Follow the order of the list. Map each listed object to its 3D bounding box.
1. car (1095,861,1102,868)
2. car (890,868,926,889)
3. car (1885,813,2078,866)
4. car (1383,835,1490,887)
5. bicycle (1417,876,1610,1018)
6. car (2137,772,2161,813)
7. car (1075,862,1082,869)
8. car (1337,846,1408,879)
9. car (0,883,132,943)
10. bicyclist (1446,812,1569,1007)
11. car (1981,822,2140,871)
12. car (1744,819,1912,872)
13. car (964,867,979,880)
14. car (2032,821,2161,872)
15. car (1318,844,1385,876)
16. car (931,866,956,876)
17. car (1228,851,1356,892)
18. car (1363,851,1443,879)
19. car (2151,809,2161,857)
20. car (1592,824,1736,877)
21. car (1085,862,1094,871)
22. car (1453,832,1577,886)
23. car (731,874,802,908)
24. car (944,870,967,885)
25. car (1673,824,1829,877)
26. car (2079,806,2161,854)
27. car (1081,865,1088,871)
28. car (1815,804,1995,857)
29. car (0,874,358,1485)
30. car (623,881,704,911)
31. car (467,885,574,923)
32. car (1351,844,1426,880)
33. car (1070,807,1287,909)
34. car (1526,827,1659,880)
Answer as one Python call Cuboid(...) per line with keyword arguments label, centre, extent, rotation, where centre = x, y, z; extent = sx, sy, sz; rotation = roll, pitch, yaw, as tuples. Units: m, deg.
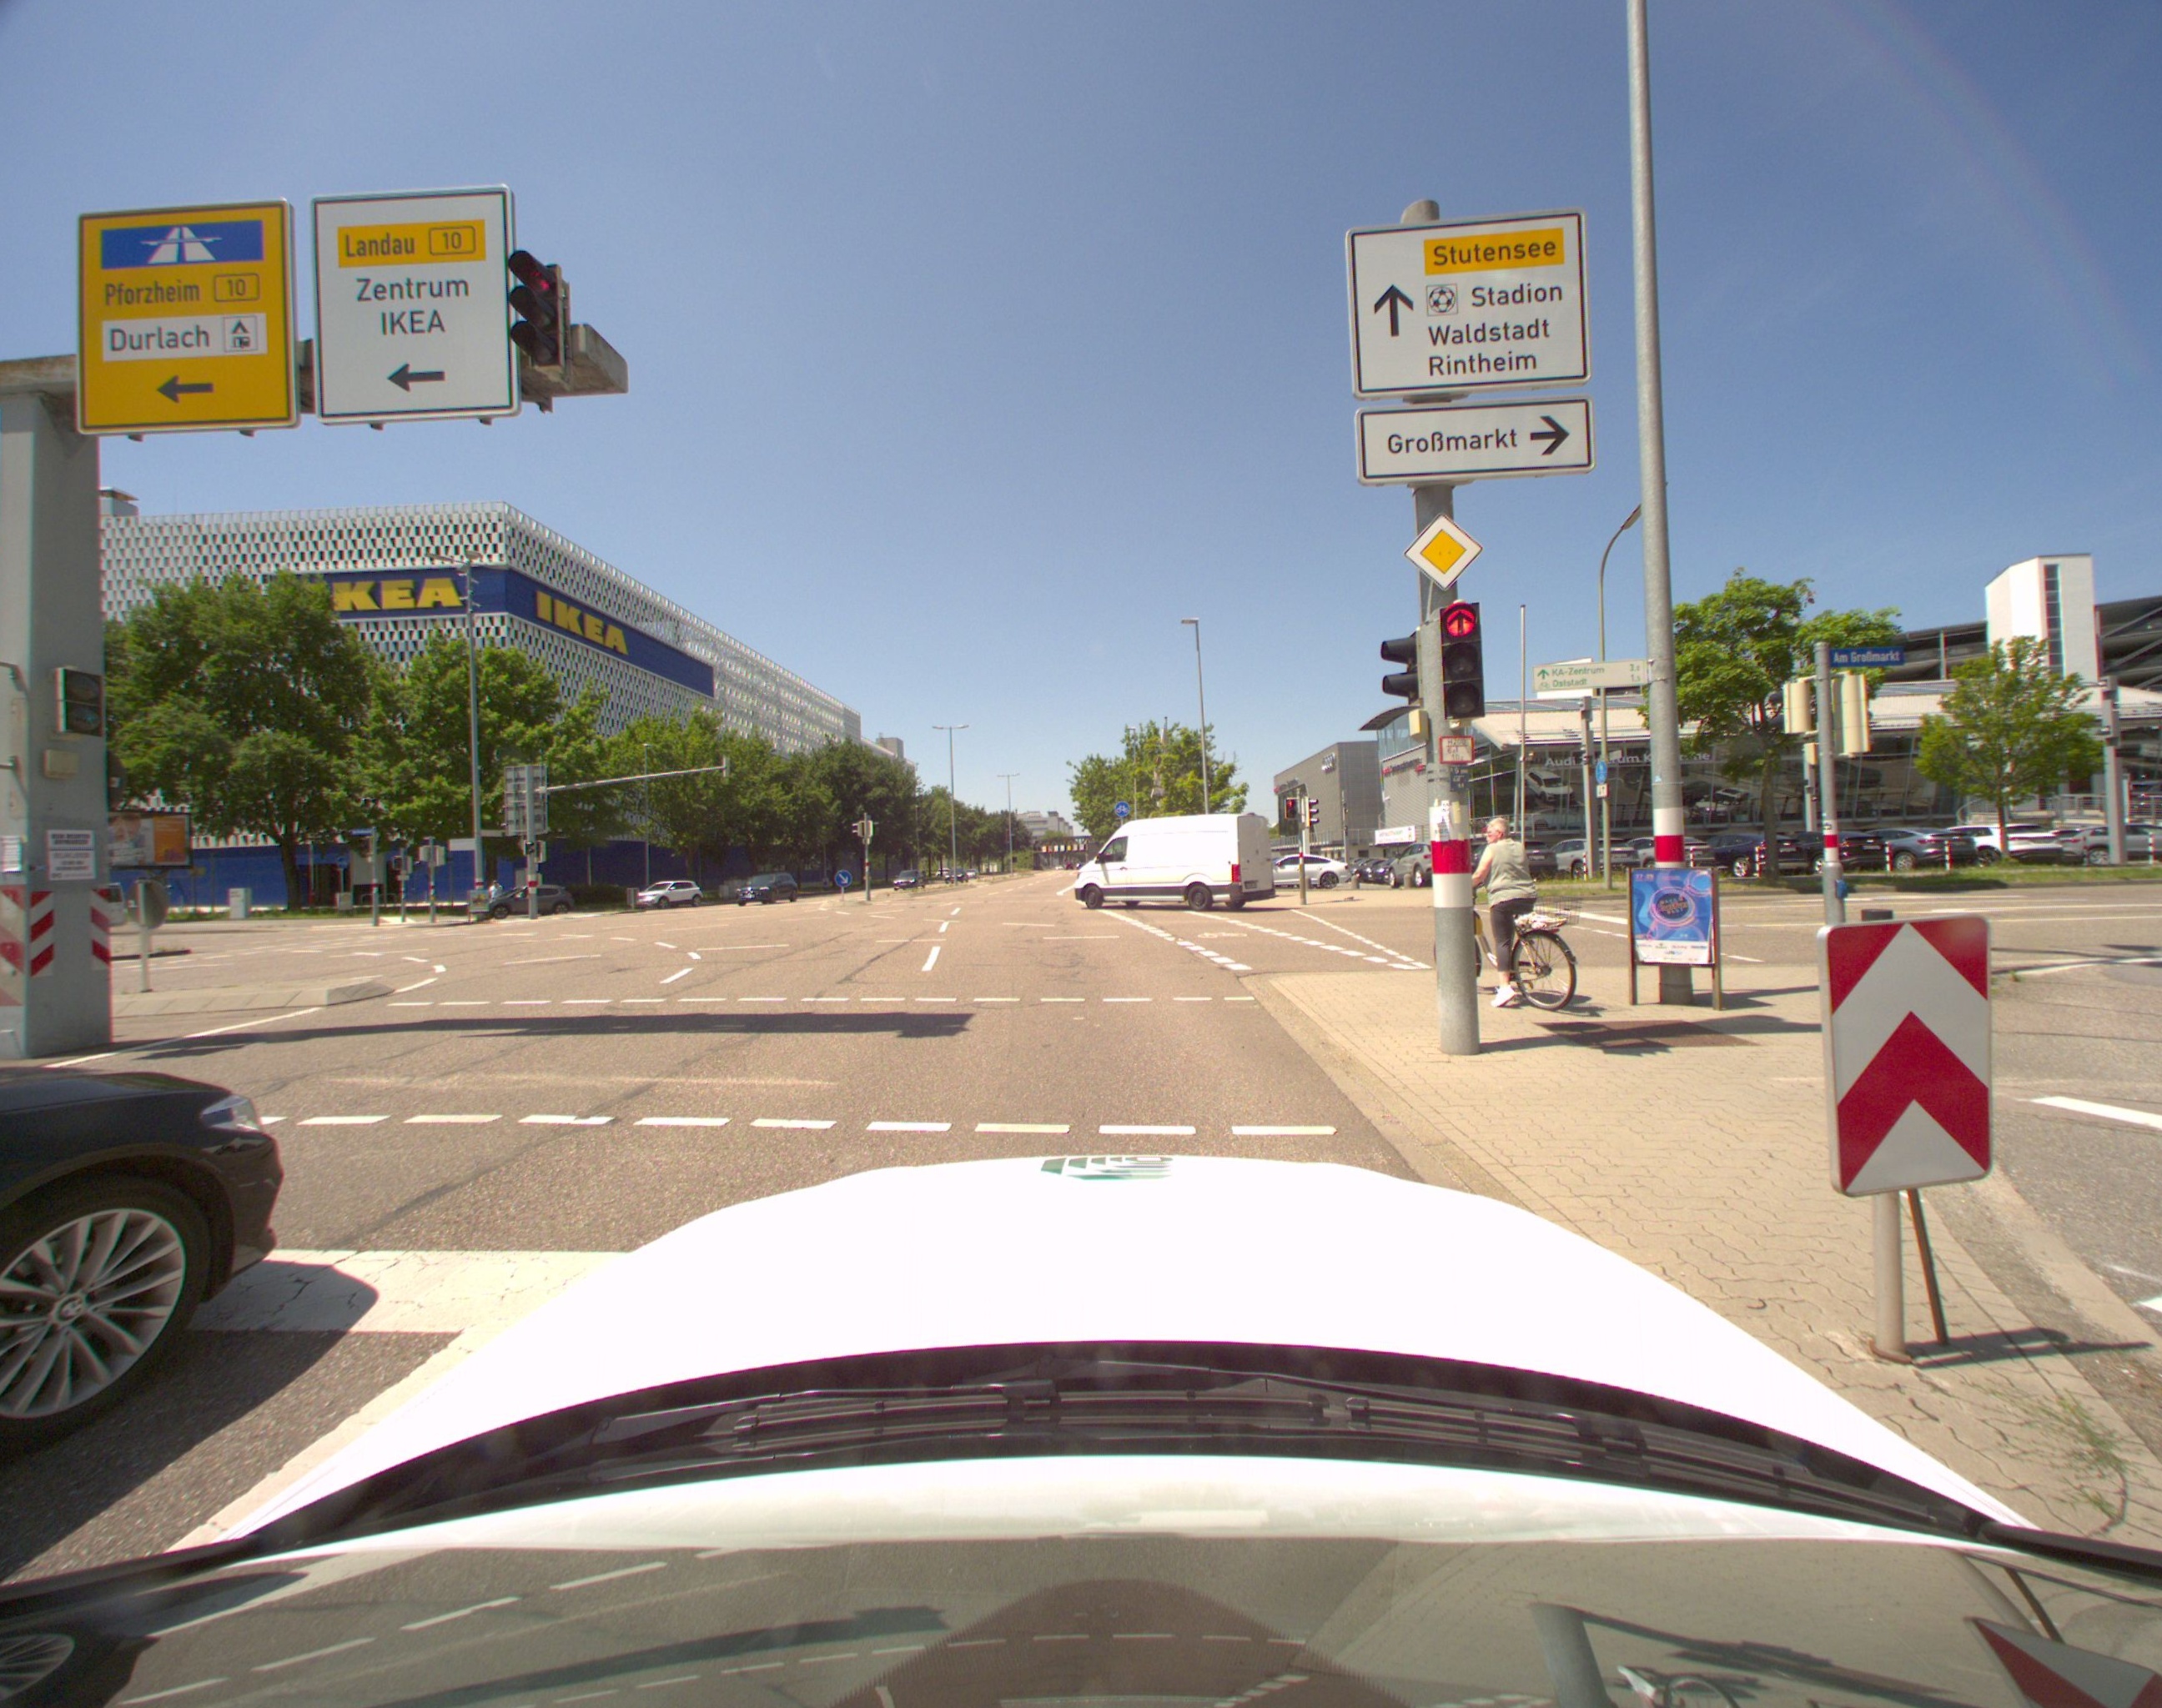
Cuboid(label="car", centre=(4.860, 2.855, 222.028), extent=(1.765, 1.728, 4.001), rotation=(-3, -1, 2))
Cuboid(label="car", centre=(-12.989, 1.827, 61.452), extent=(1.725, 1.427, 3.707), rotation=(-4, -1, 2))
Cuboid(label="car", centre=(31.241, -0.471, 28.489), extent=(1.821, 1.639, 4.476), rotation=(-3, 0, 2))
Cuboid(label="car", centre=(12.445, 0.217, 28.840), extent=(1.986, 1.639, 4.270), rotation=(-2, 0, 2))
Cuboid(label="bicycle", centre=(4.053, 0.812, 7.845), extent=(0.784, 1.127, 1.919), rotation=(-1, 0, -2))
Cuboid(label="car", centre=(54.924, -3.152, 39.555), extent=(1.989, 2.013, 3.995), rotation=(-2, -1, -3))
Cuboid(label="car", centre=(-0.675, 3.081, 220.580), extent=(1.765, 1.728, 4.001), rotation=(-3, -1, 2))
Cuboid(label="car", centre=(19.337, 0.562, 54.071), extent=(3.971, 2.014, 2.001), rotation=(-2, -1, 2))
Cuboid(label="car", centre=(-38.439, 2.162, 29.540), extent=(4.775, 2.008, 1.982), rotation=(-2, -1, -27))
Cuboid(label="bicyclist", centre=(4.023, 0.497, 7.734), extent=(0.732, 1.749, 0.753), rotation=(-1, 0, -3))
Cuboid(label="car", centre=(39.998, -0.287, 33.392), extent=(3.720, 1.772, 1.781), rotation=(-3, -1, 32))
Cuboid(label="car", centre=(25.906, -0.277, 28.512), extent=(1.821, 1.639, 4.476), rotation=(-3, 0, 2))
Cuboid(label="car", centre=(-15.696, 2.764, 116.945), extent=(1.645, 1.653, 4.160), rotation=(-2, -1, -2))
Cuboid(label="car", centre=(39.098, -0.277, 30.776), extent=(3.665, 1.777, 1.759), rotation=(-3, -1, 28))
Cuboid(label="car", centre=(18.739, 0.412, 56.477), extent=(3.971, 2.014, 2.001), rotation=(-2, -1, 2))
Cuboid(label="car", centre=(-25.357, 3.134, 150.036), extent=(3.992, 1.810, 2.005), rotation=(0, 0, 9))
Cuboid(label="car", centre=(8.486, 0.702, 33.154), extent=(4.721, 1.457, 2.002), rotation=(-2, 0, 3))
Cuboid(label="car", centre=(19.294, 0.645, 48.910), extent=(4.076, 1.460, 1.720), rotation=(-2, 0, 2))
Cuboid(label="car", centre=(39.462, -0.813, 26.861), extent=(4.705, 1.639, 1.844), rotation=(-3, 0, 24))
Cuboid(label="car", centre=(20.338, -0.109, 28.688), extent=(1.878, 1.639, 4.526), rotation=(-3, 0, 2))
Cuboid(label="car", centre=(1.139, 1.649, 105.603), extent=(1.133, 1.042, 2.309), rotation=(-2, 0, 2))
Cuboid(label="car", centre=(15.089, 0.158, 28.661), extent=(1.986, 1.639, 4.559), rotation=(-2, 0, 2))
Cuboid(label="car", centre=(-16.704, 1.925, 43.450), extent=(1.868, 1.598, 4.498), rotation=(-3, -1, 2))
Cuboid(label="car", centre=(-12.641, 2.349, 82.189), extent=(1.678, 1.411, 3.666), rotation=(-3, -1, 2))
Cuboid(label="car", centre=(23.200, -0.125, 28.457), extent=(1.821, 1.639, 4.476), rotation=(-3, 0, 2))
Cuboid(label="car", centre=(46.605, -1.063, 35.371), extent=(3.728, 2.014, 1.866), rotation=(-2, -1, 11))
Cuboid(label="car", centre=(1.000, 3.998, 236.662), extent=(1.765, 1.728, 4.001), rotation=(-3, -1, 2))
Cuboid(label="car", centre=(28.548, -0.761, 28.470), extent=(1.821, 1.639, 4.476), rotation=(-3, 0, 2))
Cuboid(label="car", centre=(-3.564, 0.816, 0.636), extent=(1.793, 1.466, 4.624), rotation=(-1, 0, 1))
Cuboid(label="car", centre=(-23.229, 2.315, 45.508), extent=(1.609, 1.457, 4.088), rotation=(-3, -1, 16))
Cuboid(label="car", centre=(-26.619, 2.370, 38.758), extent=(1.753, 1.533, 3.778), rotation=(-3, -1, 37))
Cuboid(label="car", centre=(19.314, 0.508, 51.254), extent=(3.971, 2.014, 2.001), rotation=(-2, -1, 2))
Cuboid(label="car", centre=(2.597, 0.172, 22.816), extent=(5.726, 2.534, 2.116), rotation=(-2, -1, 40))
Cuboid(label="car", centre=(17.940, -0.021, 28.873), extent=(1.986, 1.639, 4.443), rotation=(-3, 0, 2))
